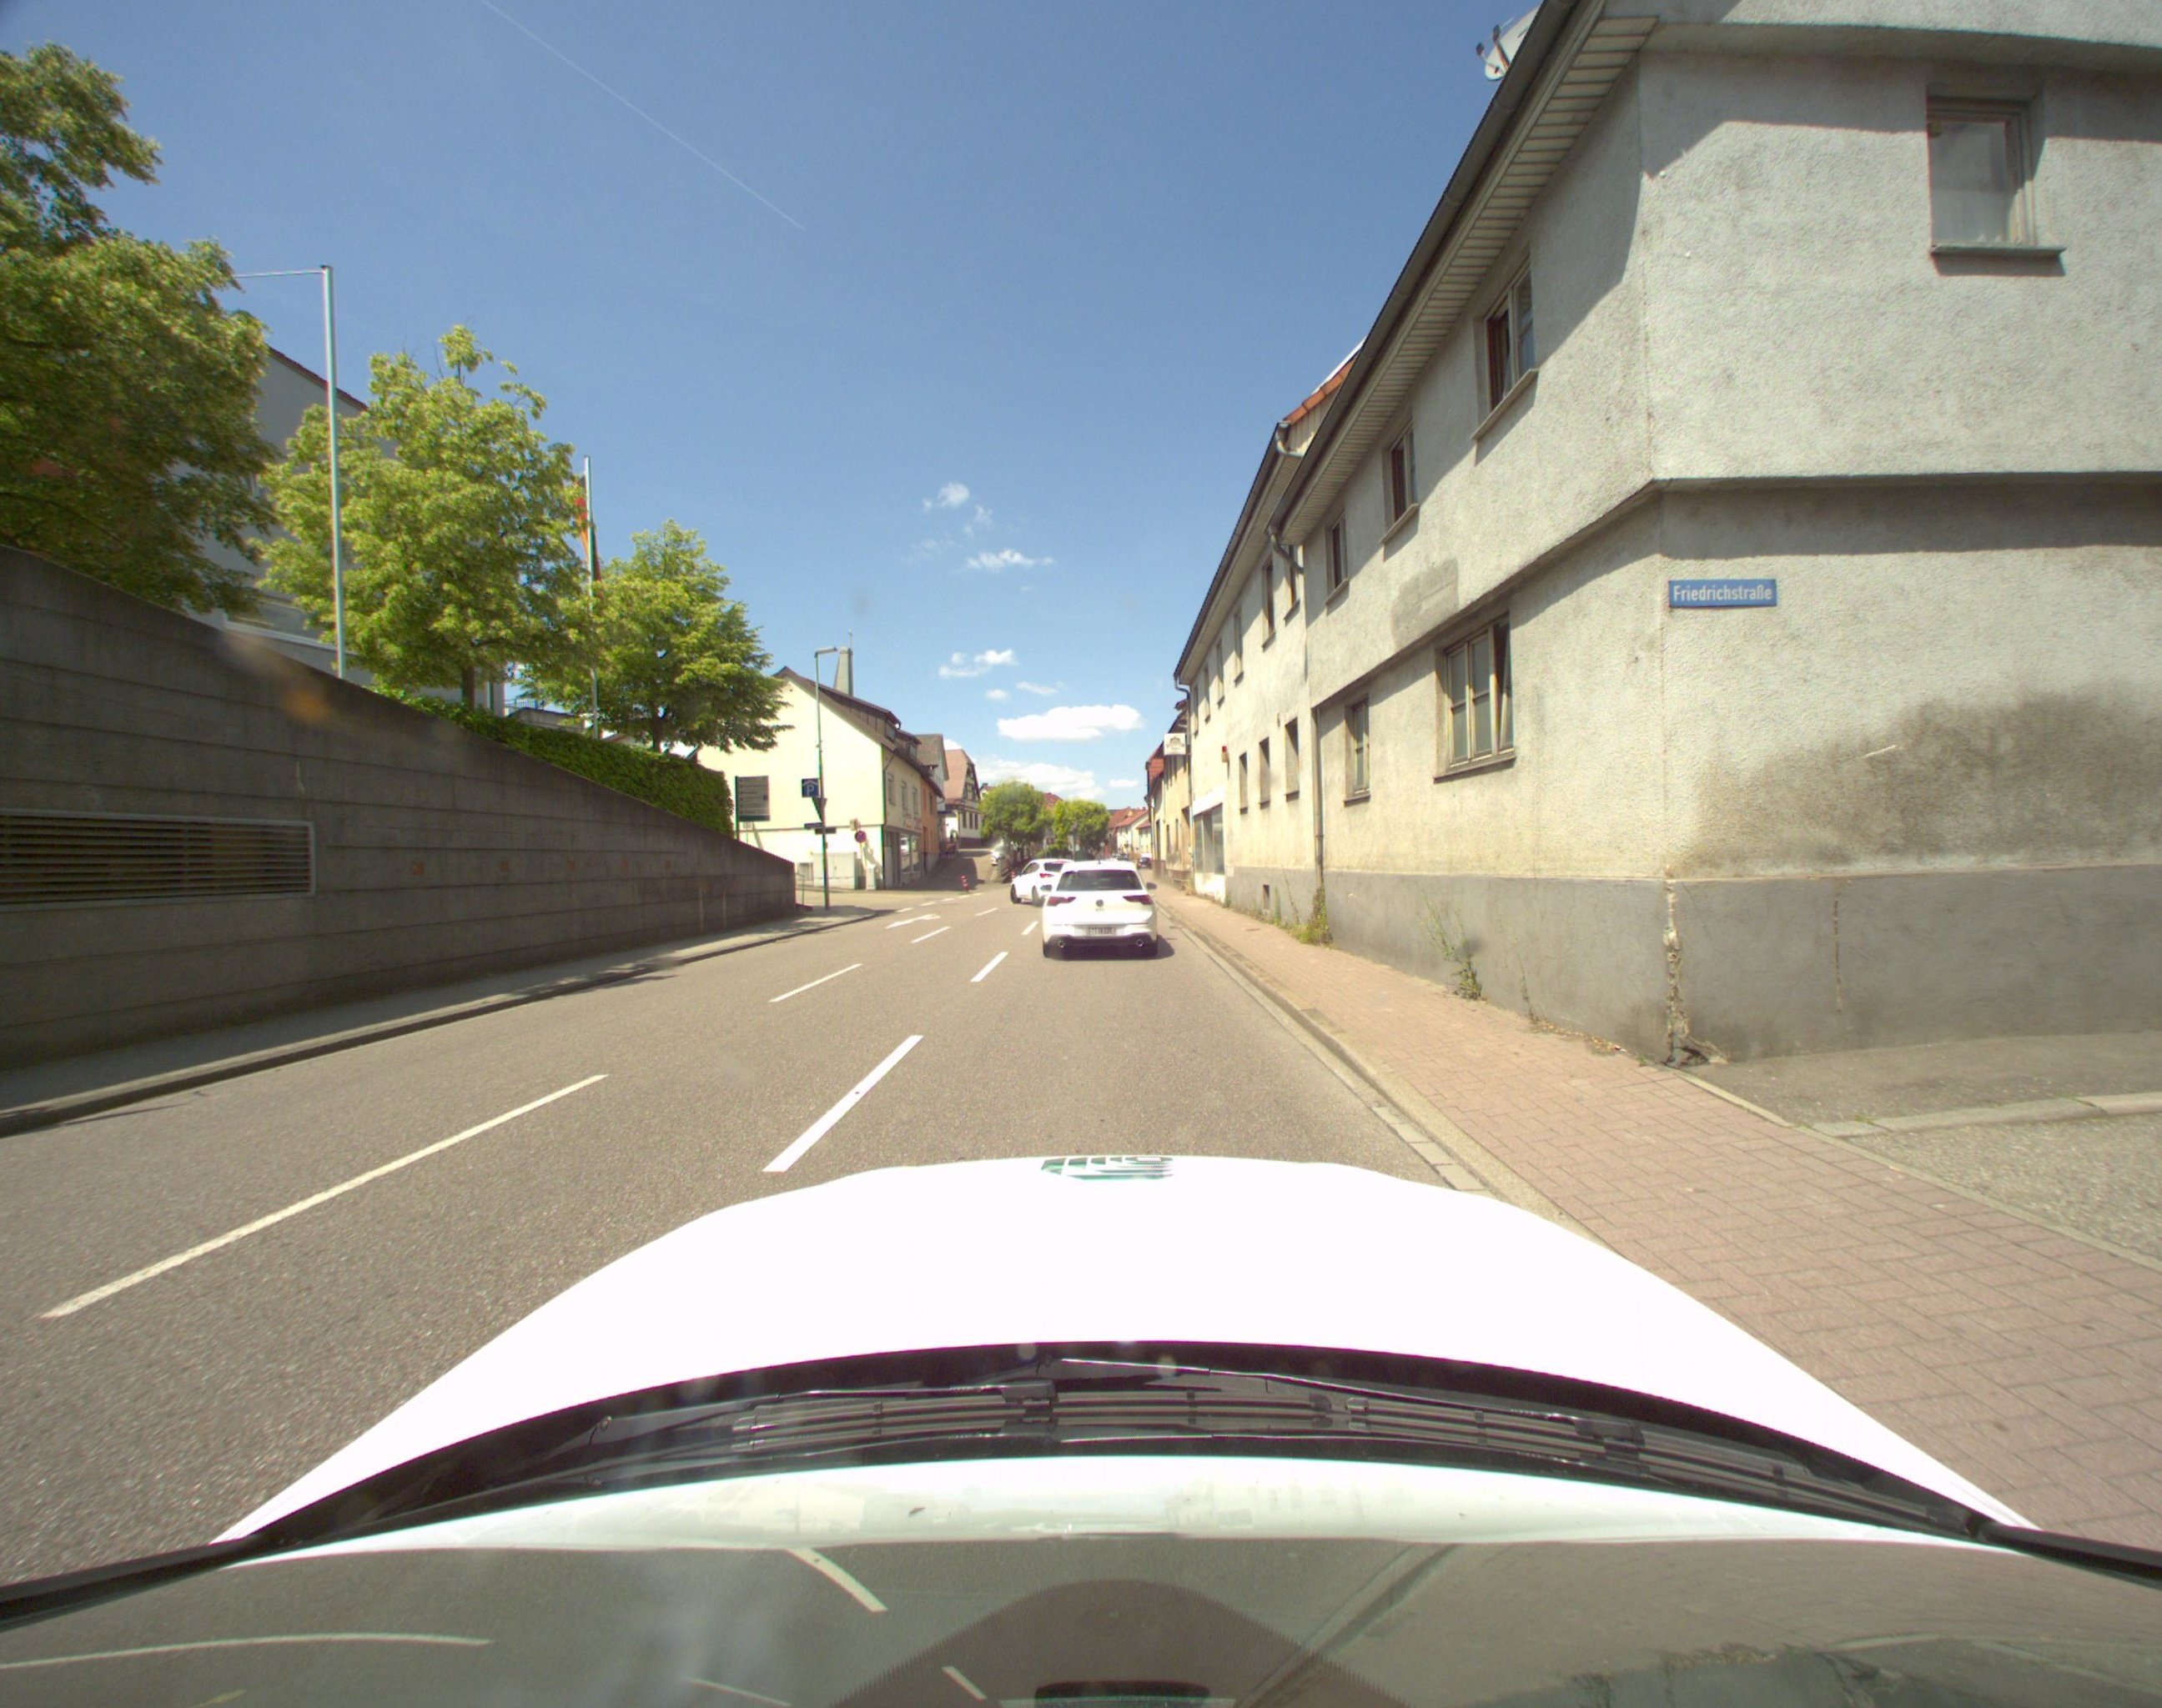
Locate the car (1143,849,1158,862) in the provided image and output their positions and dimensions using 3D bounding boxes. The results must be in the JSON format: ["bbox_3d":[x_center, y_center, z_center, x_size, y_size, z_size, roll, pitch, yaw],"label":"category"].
[{"bbox_3d":[9.698,0.189,112.813,1.765,1.765,4.009,-1,0,8],"label":"car"}]

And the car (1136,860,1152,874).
[{"bbox_3d":[7.502,1.490,97.039,1.766,1.538,4.007,-1,0,6],"label":"car"}]

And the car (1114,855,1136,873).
[{"bbox_3d":[4.000,0.883,73.837,1.767,1.538,4.006,-1,0,5],"label":"car"}]

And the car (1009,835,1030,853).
[{"bbox_3d":[-5.719,-0.944,76.310,1.571,1.361,3.858,-1,5,1],"label":"car"}]

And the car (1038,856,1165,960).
[{"bbox_3d":[0.412,0.785,13.620,1.800,1.467,4.003,0,-1,3],"label":"car"}]

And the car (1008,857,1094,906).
[{"bbox_3d":[-1.057,0.838,26.352,1.812,1.467,3.977,0,-1,-17],"label":"car"}]

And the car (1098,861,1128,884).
[{"bbox_3d":[2.237,1.240,55.637,1.799,1.467,4.006,0,-1,6],"label":"car"}]

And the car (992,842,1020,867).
[{"bbox_3d":[-5.857,0.025,64.078,1.687,1.542,3.858,-1,5,1],"label":"car"}]
